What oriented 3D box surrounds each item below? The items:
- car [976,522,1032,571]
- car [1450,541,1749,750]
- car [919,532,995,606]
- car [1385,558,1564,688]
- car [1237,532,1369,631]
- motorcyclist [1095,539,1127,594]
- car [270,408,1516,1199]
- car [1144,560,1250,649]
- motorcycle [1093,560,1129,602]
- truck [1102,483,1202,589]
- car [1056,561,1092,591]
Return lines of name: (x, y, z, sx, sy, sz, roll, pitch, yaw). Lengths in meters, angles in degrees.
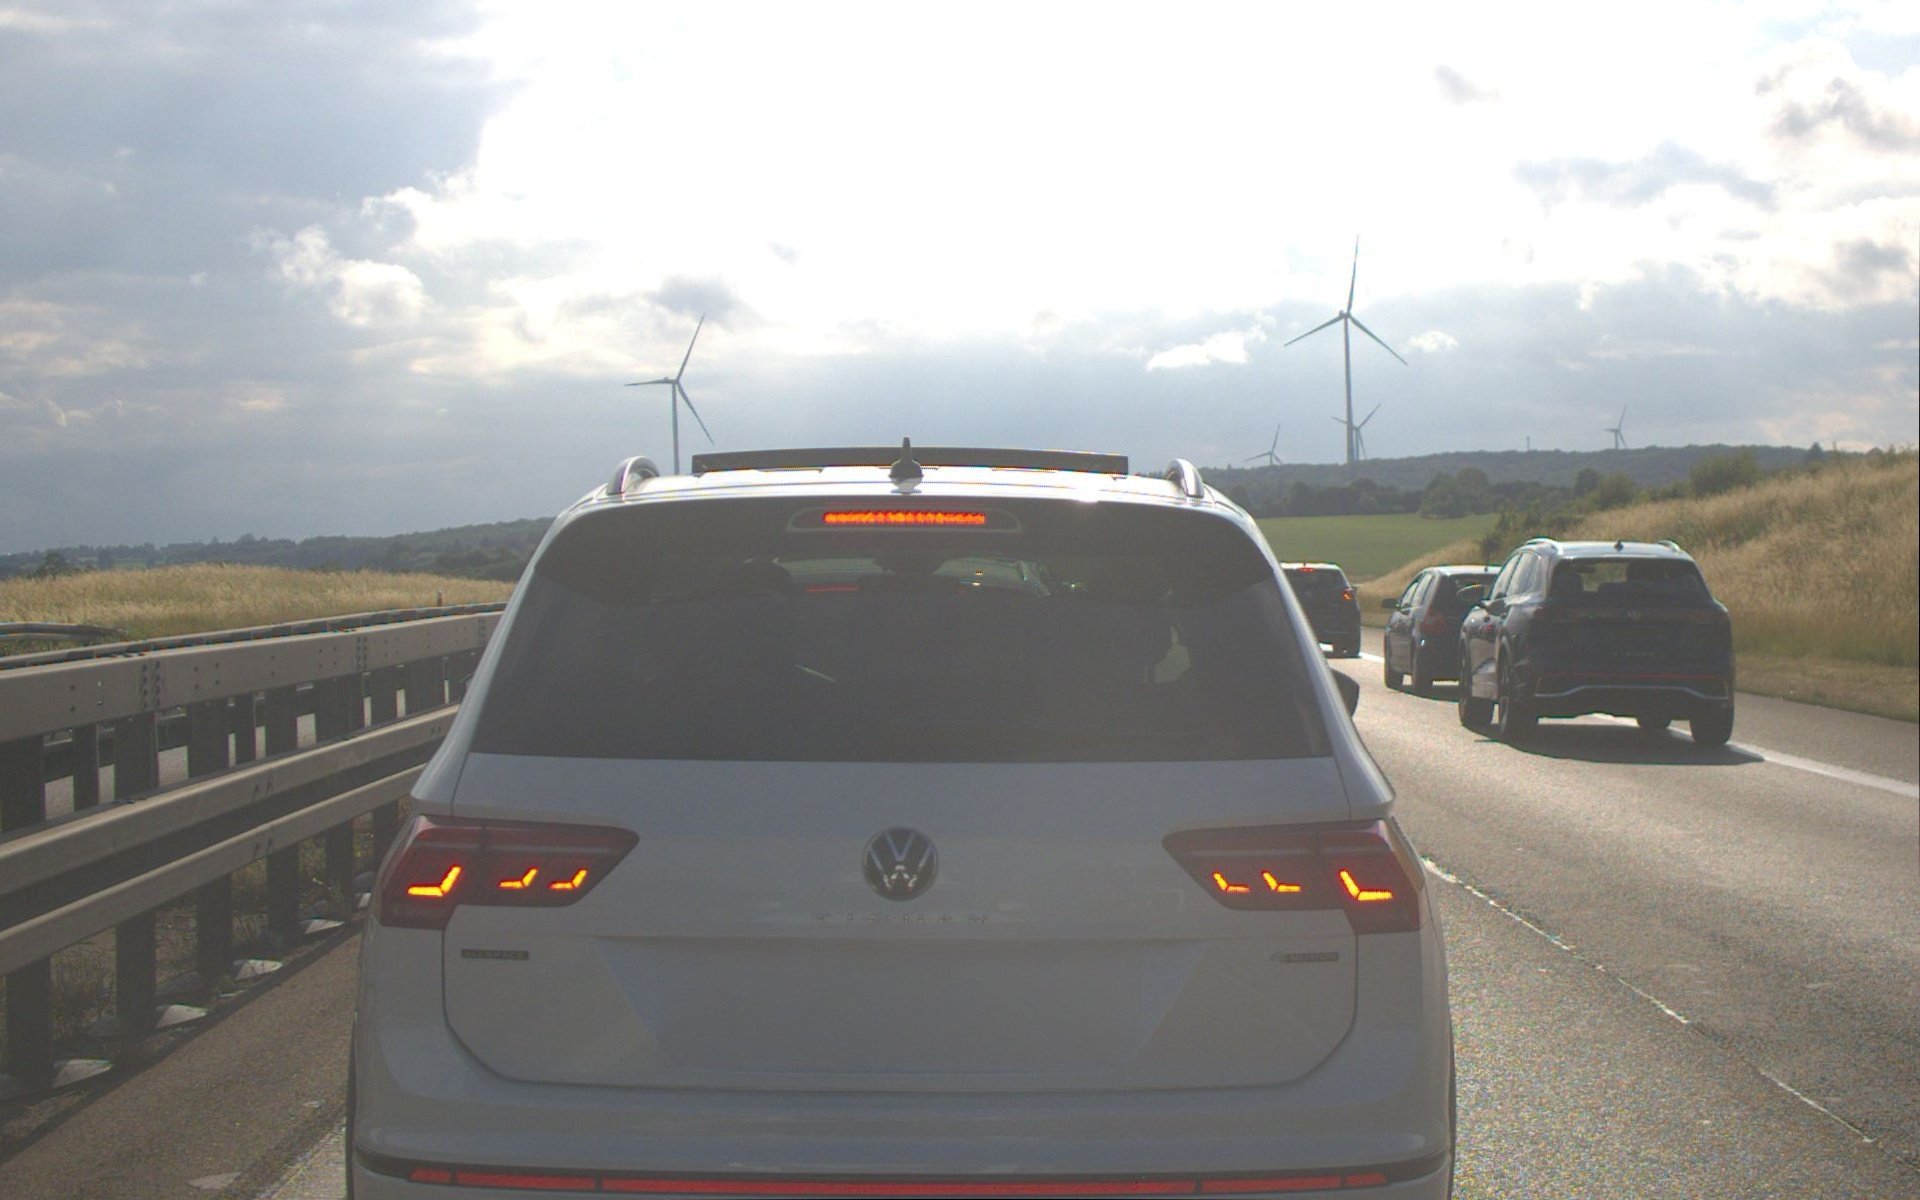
car: (1.384, -1.696, 110.167, 1.704, 1.540, 4.000, 0, 0, -1)
car: (5.317, 0.342, 29.092, 1.821, 1.596, 4.235, 1, 0, 2)
car: (-0.088, -0.706, 78.631, 1.704, 1.644, 4.000, 0, 0, -1)
car: (5.828, 0.229, 39.264, 1.606, 1.415, 3.672, 0, 0, 2)
car: (5.515, -0.306, 55.709, 1.704, 1.540, 4.000, 0, 0, -1)
motorcyclist: (4.302, -0.945, 97.866, 0.849, 1.554, 0.934, 0, 0, -1)
car: (-0.114, 0.546, 6.887, 1.770, 1.670, 4.000, 0, 0, -1)
car: (4.488, 0.062, 65.483, 1.704, 1.644, 4.000, 0, 0, -1)
motorcycle: (4.300, -0.555, 97.914, 0.895, 1.186, 2.257, 0, 0, -1)
truck: (6.760, -2.292, 122.629, 3.184, 3.581, 11.130, 0, 1, 1)
car: (5.892, -1.228, 177.957, 1.704, 1.540, 4.000, 0, 0, -1)
